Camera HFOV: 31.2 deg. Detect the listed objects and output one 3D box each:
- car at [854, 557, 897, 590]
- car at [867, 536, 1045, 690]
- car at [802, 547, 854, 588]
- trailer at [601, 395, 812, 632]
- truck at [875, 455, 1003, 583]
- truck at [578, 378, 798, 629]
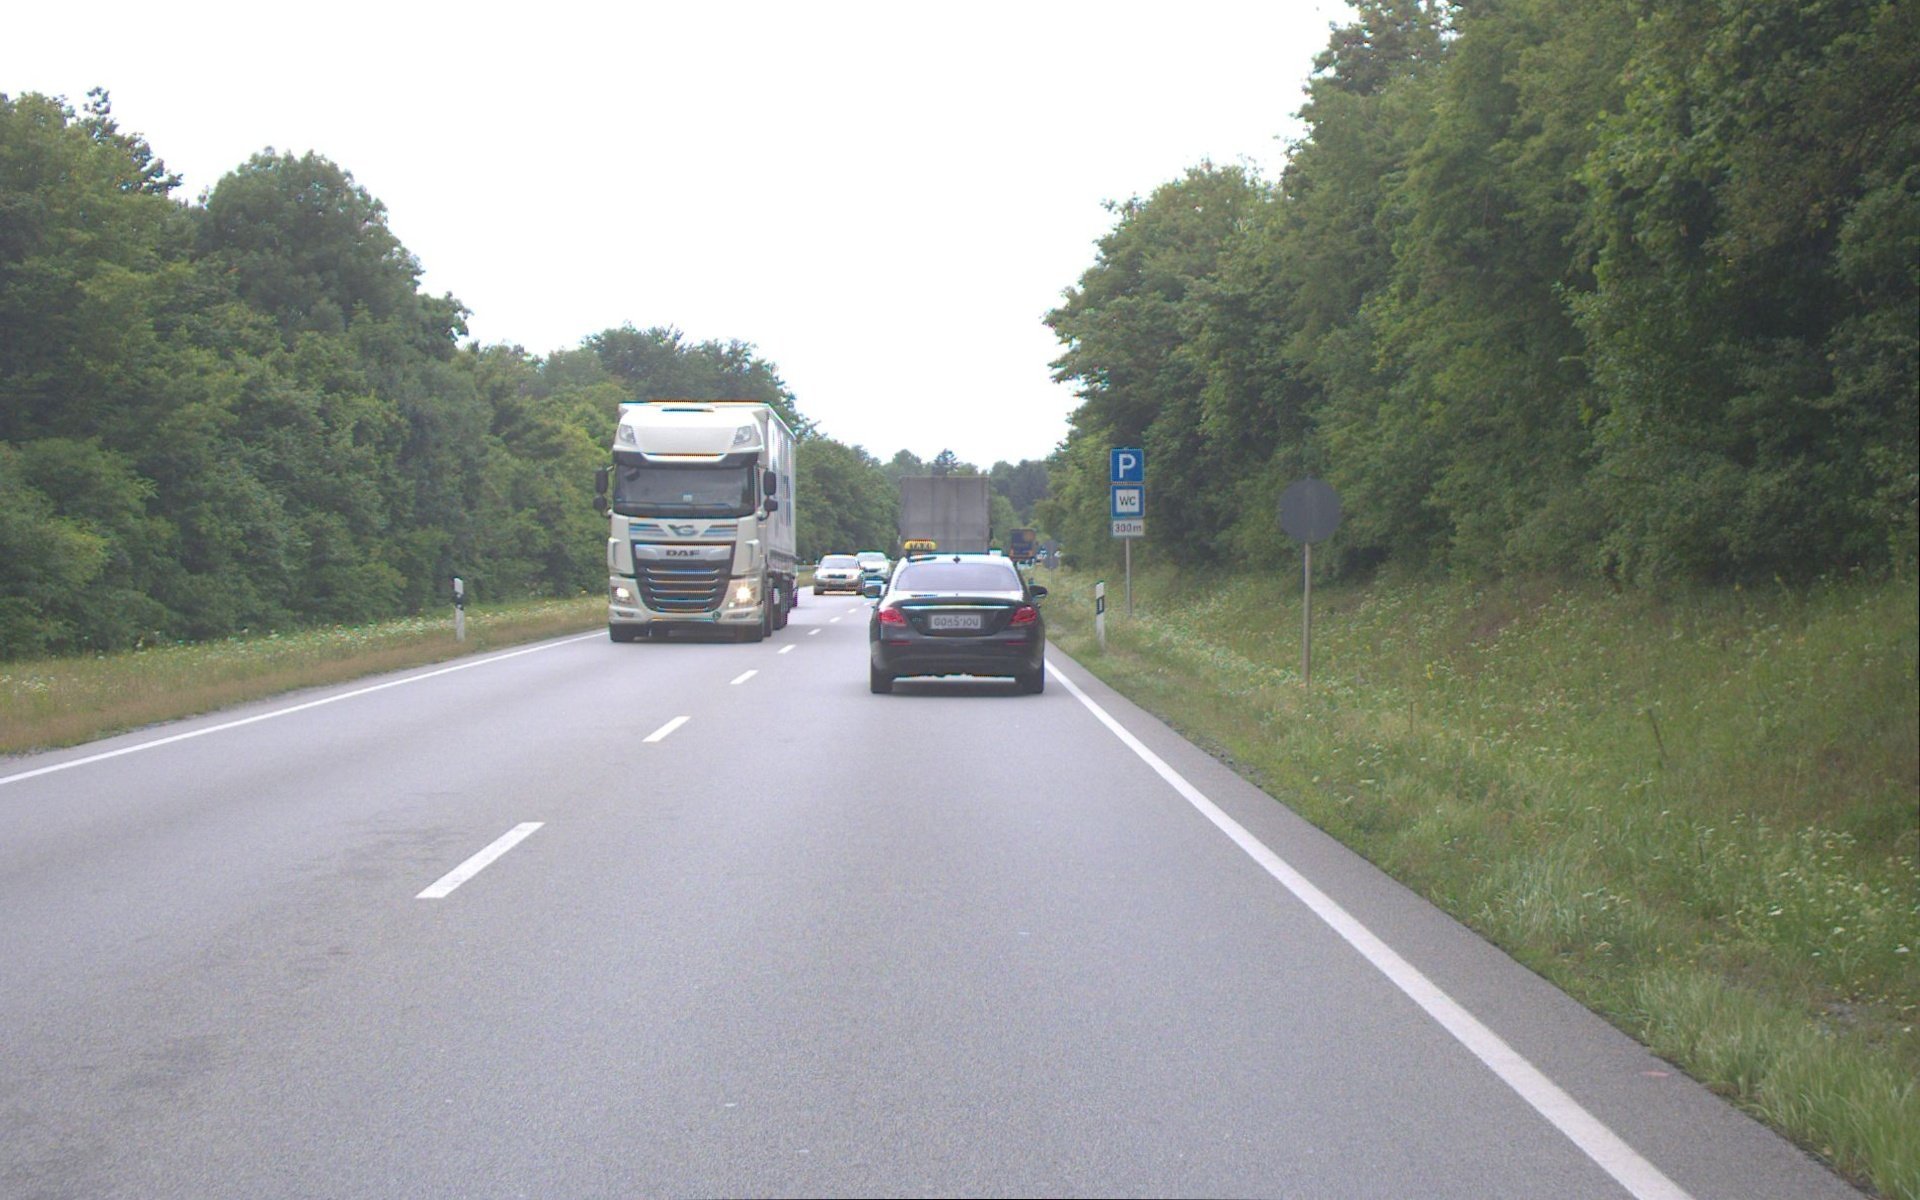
[{"bbox_3d":[-4.166,-1.331,169.354,1.964,1.568,5.452,1,1,0],"label":"car"},{"bbox_3d":[-0.093,0.113,37.198,1.791,1.547,4.000,1,1,-2],"label":"car"},{"bbox_3d":[-4.741,-1.173,123.951,1.725,1.429,4.503,1,1,-1],"label":"car"},{"bbox_3d":[-4.690,-1.566,66.523,3.203,4.053,14.273,1,1,-1],"label":"trailer"},{"bbox_3d":[-0.516,-2.372,103.424,3.281,3.599,11.399,1,1,2],"label":"truck"},{"bbox_3d":[-4.658,-1.630,60.820,3.189,4.048,9.576,1,1,-1],"label":"truck"}]
